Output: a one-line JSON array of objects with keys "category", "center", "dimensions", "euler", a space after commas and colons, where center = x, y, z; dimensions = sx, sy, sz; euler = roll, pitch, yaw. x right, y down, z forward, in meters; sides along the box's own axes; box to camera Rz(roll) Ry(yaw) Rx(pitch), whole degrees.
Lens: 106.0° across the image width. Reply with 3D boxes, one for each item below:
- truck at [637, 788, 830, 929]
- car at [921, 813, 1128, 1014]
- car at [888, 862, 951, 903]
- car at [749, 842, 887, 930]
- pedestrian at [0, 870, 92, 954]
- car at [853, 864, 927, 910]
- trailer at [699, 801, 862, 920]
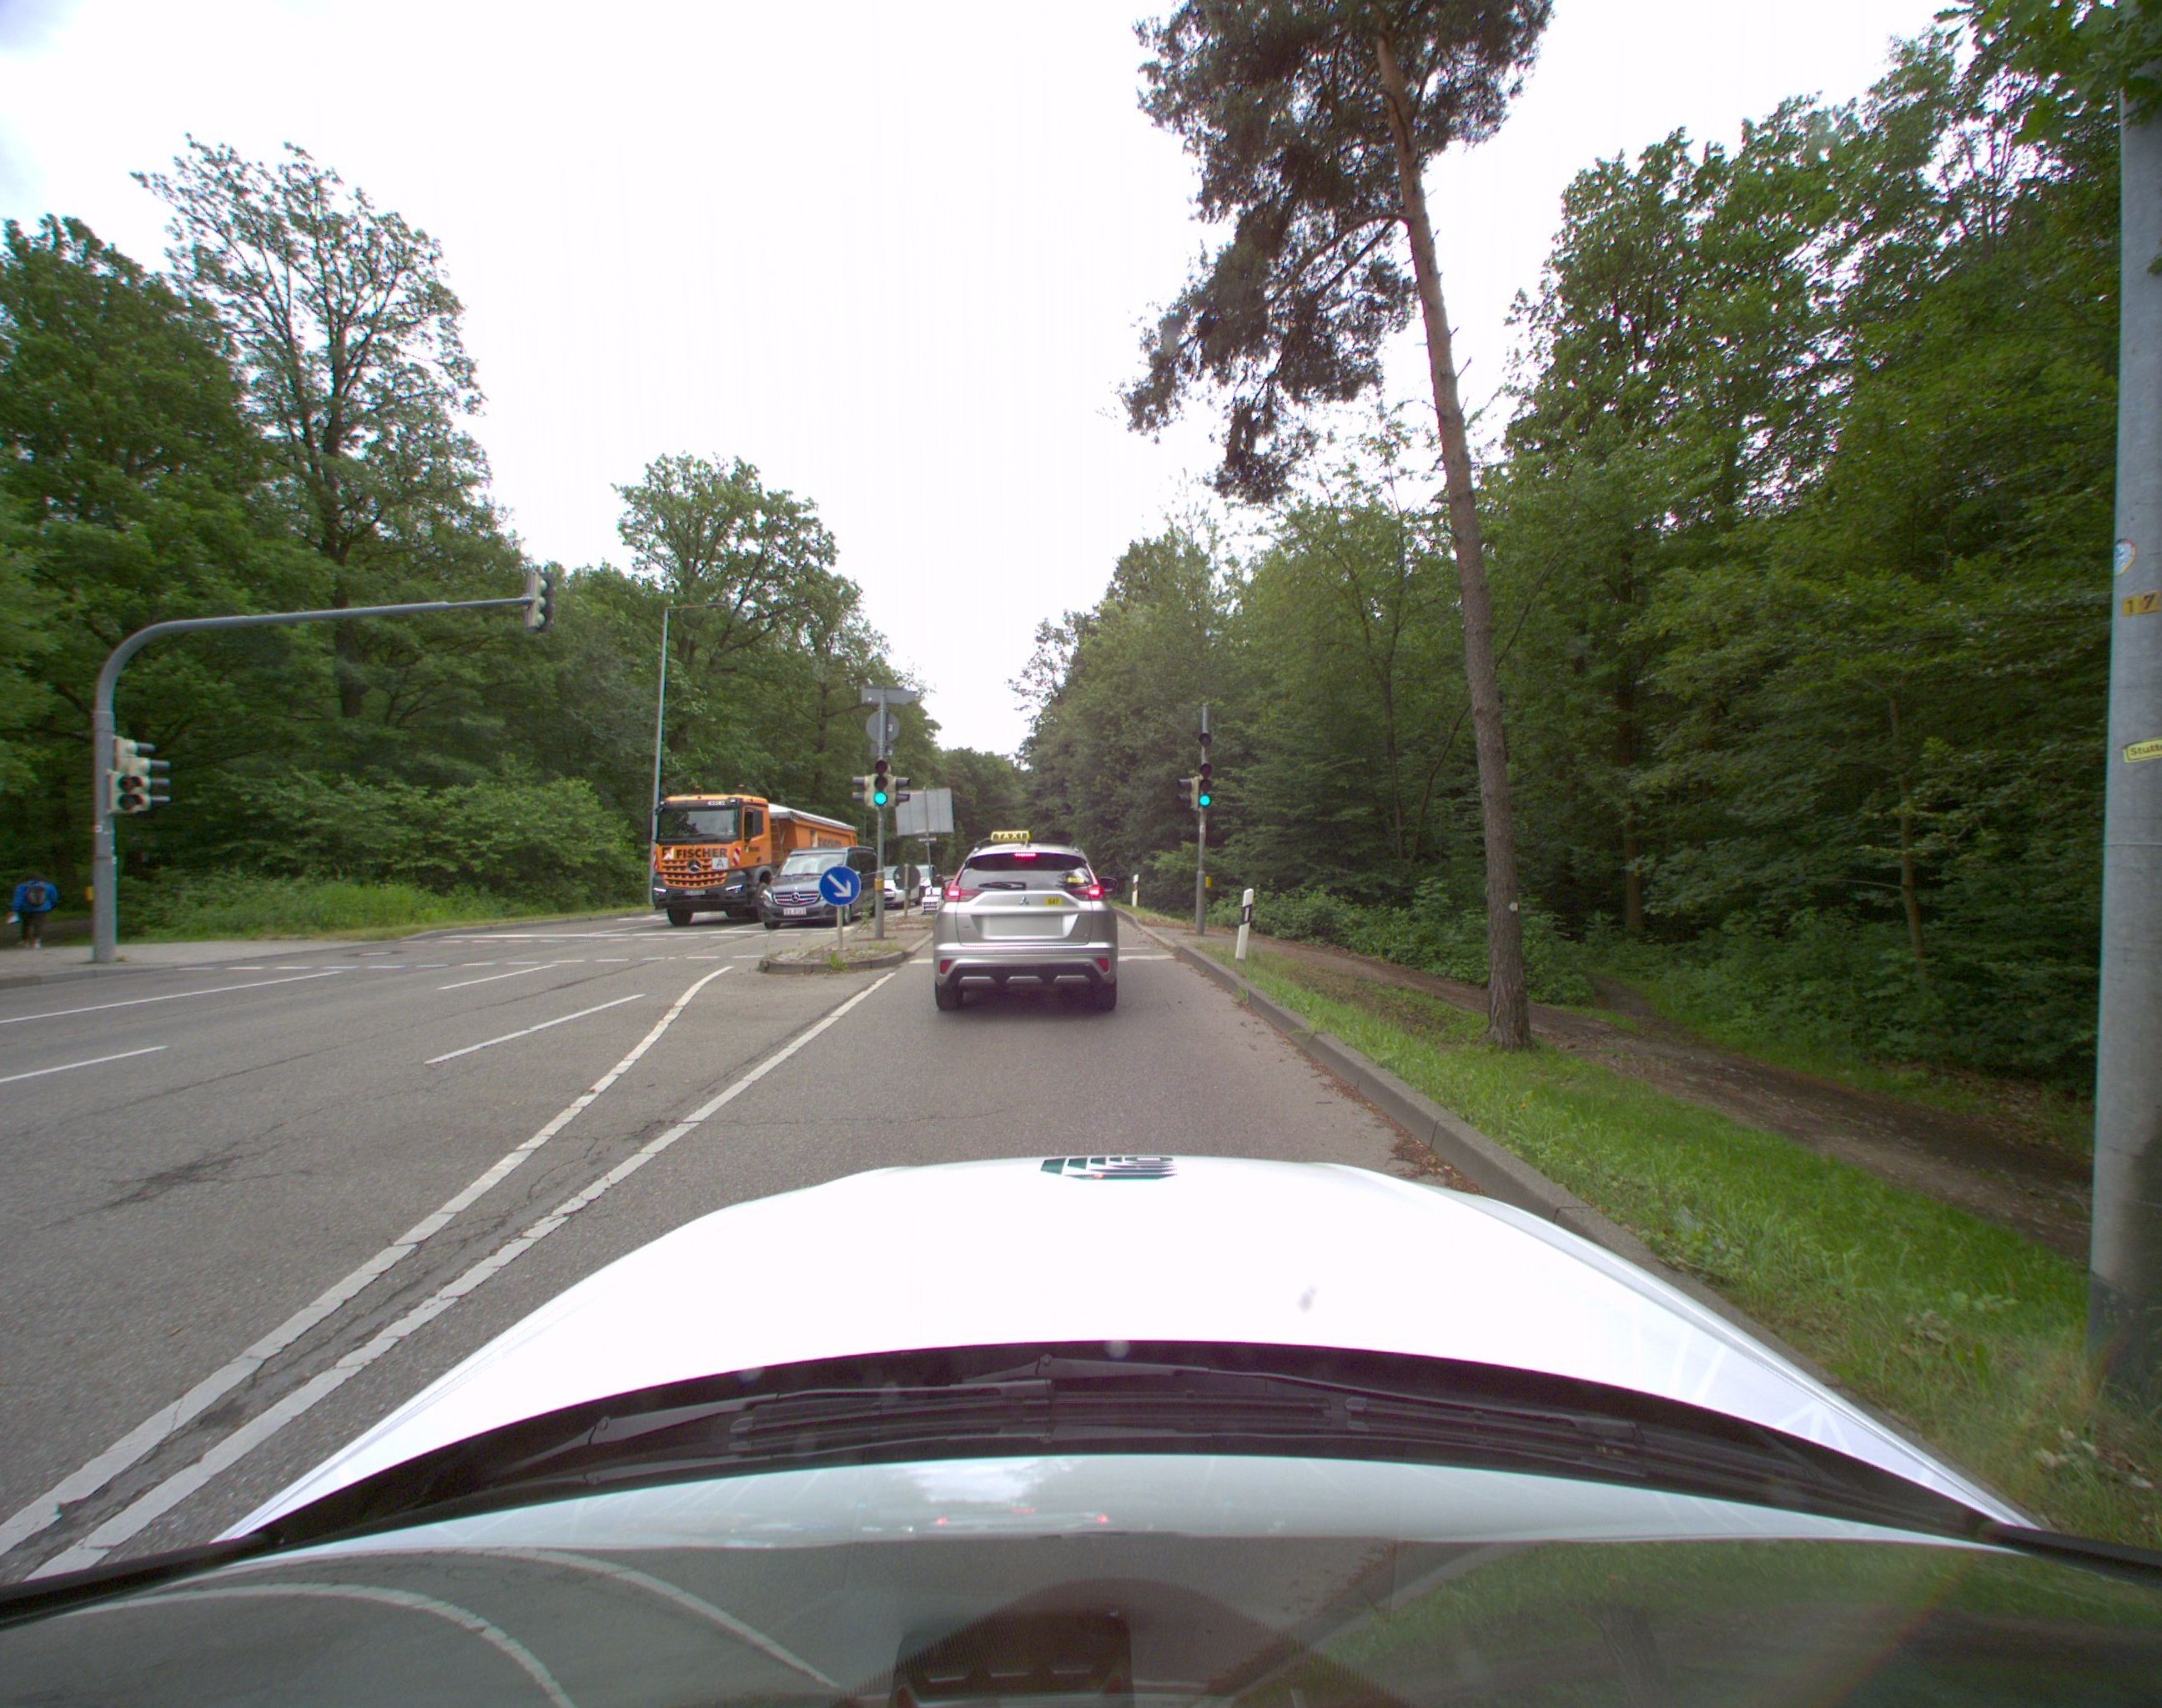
[{"category": "truck", "center": [-9.513, 0.169, 23.287], "dimensions": [2.733, 3.318, 7.150], "euler": [-2, -1, -3]}, {"category": "car", "center": [-0.641, 0.539, 9.284], "dimensions": [1.843, 1.780, 3.994], "euler": [0, 0, -4]}, {"category": "car", "center": [-6.629, 1.137, 33.796], "dimensions": [1.806, 1.508, 3.720], "euler": [-3, -1, -1]}, {"category": "car", "center": [-6.449, 0.743, 20.610], "dimensions": [1.988, 1.894, 4.835], "euler": [-2, -1, -2]}, {"category": "pedestrian", "center": [-22.205, 1.208, 17.288], "dimensions": [1.043, 1.649, 1.070], "euler": [3, 1, 2]}, {"category": "car", "center": [-6.395, 1.066, 27.619], "dimensions": [1.607, 1.321, 3.720], "euler": [-3, 0, -1]}, {"category": "trailer", "center": [-9.750, 0.259, 27.605], "dimensions": [2.733, 3.318, 8.558], "euler": [-2, -1, -3]}]
